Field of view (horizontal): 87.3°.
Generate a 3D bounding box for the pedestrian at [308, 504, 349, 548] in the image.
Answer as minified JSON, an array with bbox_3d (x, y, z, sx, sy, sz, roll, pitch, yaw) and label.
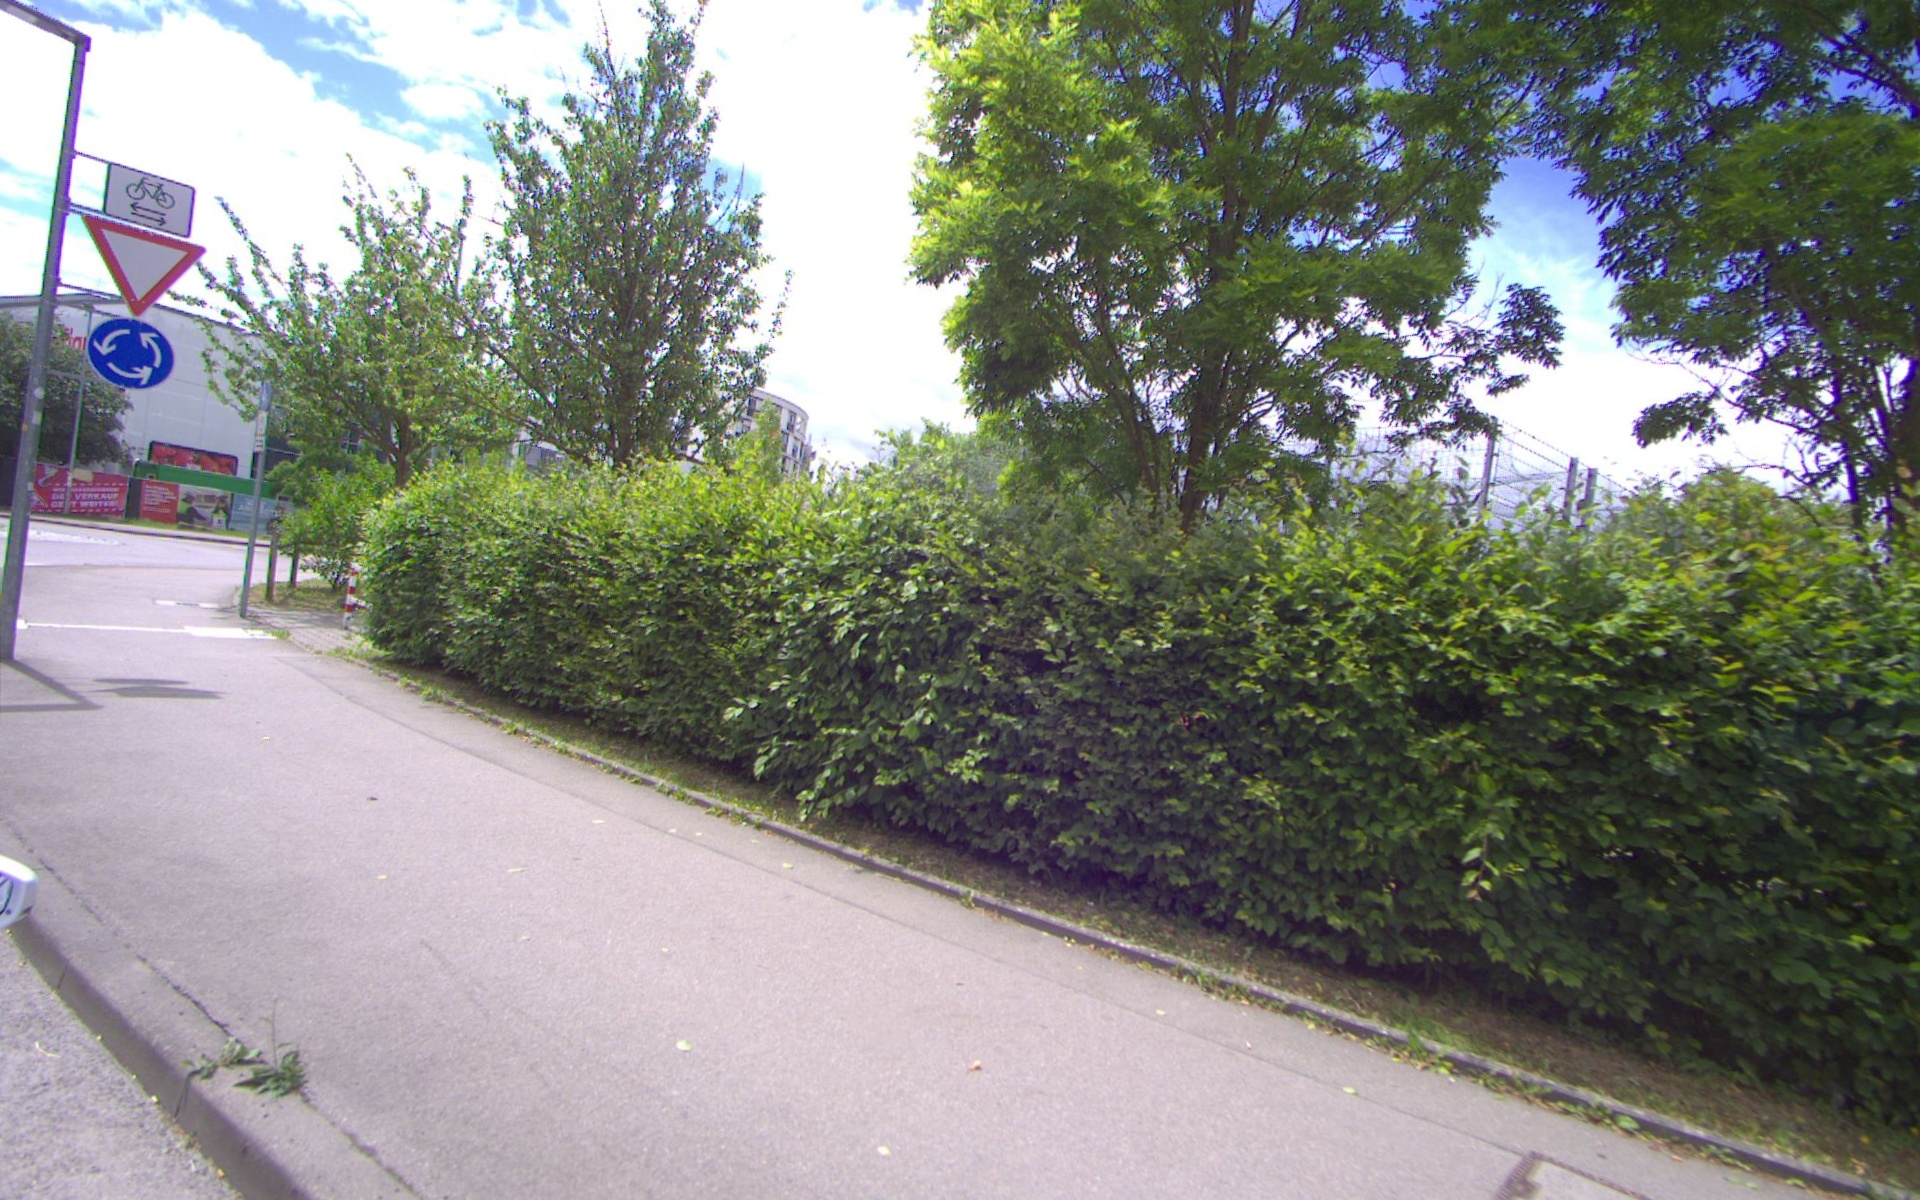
[{"bbox_3d":[-25.715,-2.992,40.983,1.022,1.558,0.892,9,-1,-16],"label":"pedestrian"}]
